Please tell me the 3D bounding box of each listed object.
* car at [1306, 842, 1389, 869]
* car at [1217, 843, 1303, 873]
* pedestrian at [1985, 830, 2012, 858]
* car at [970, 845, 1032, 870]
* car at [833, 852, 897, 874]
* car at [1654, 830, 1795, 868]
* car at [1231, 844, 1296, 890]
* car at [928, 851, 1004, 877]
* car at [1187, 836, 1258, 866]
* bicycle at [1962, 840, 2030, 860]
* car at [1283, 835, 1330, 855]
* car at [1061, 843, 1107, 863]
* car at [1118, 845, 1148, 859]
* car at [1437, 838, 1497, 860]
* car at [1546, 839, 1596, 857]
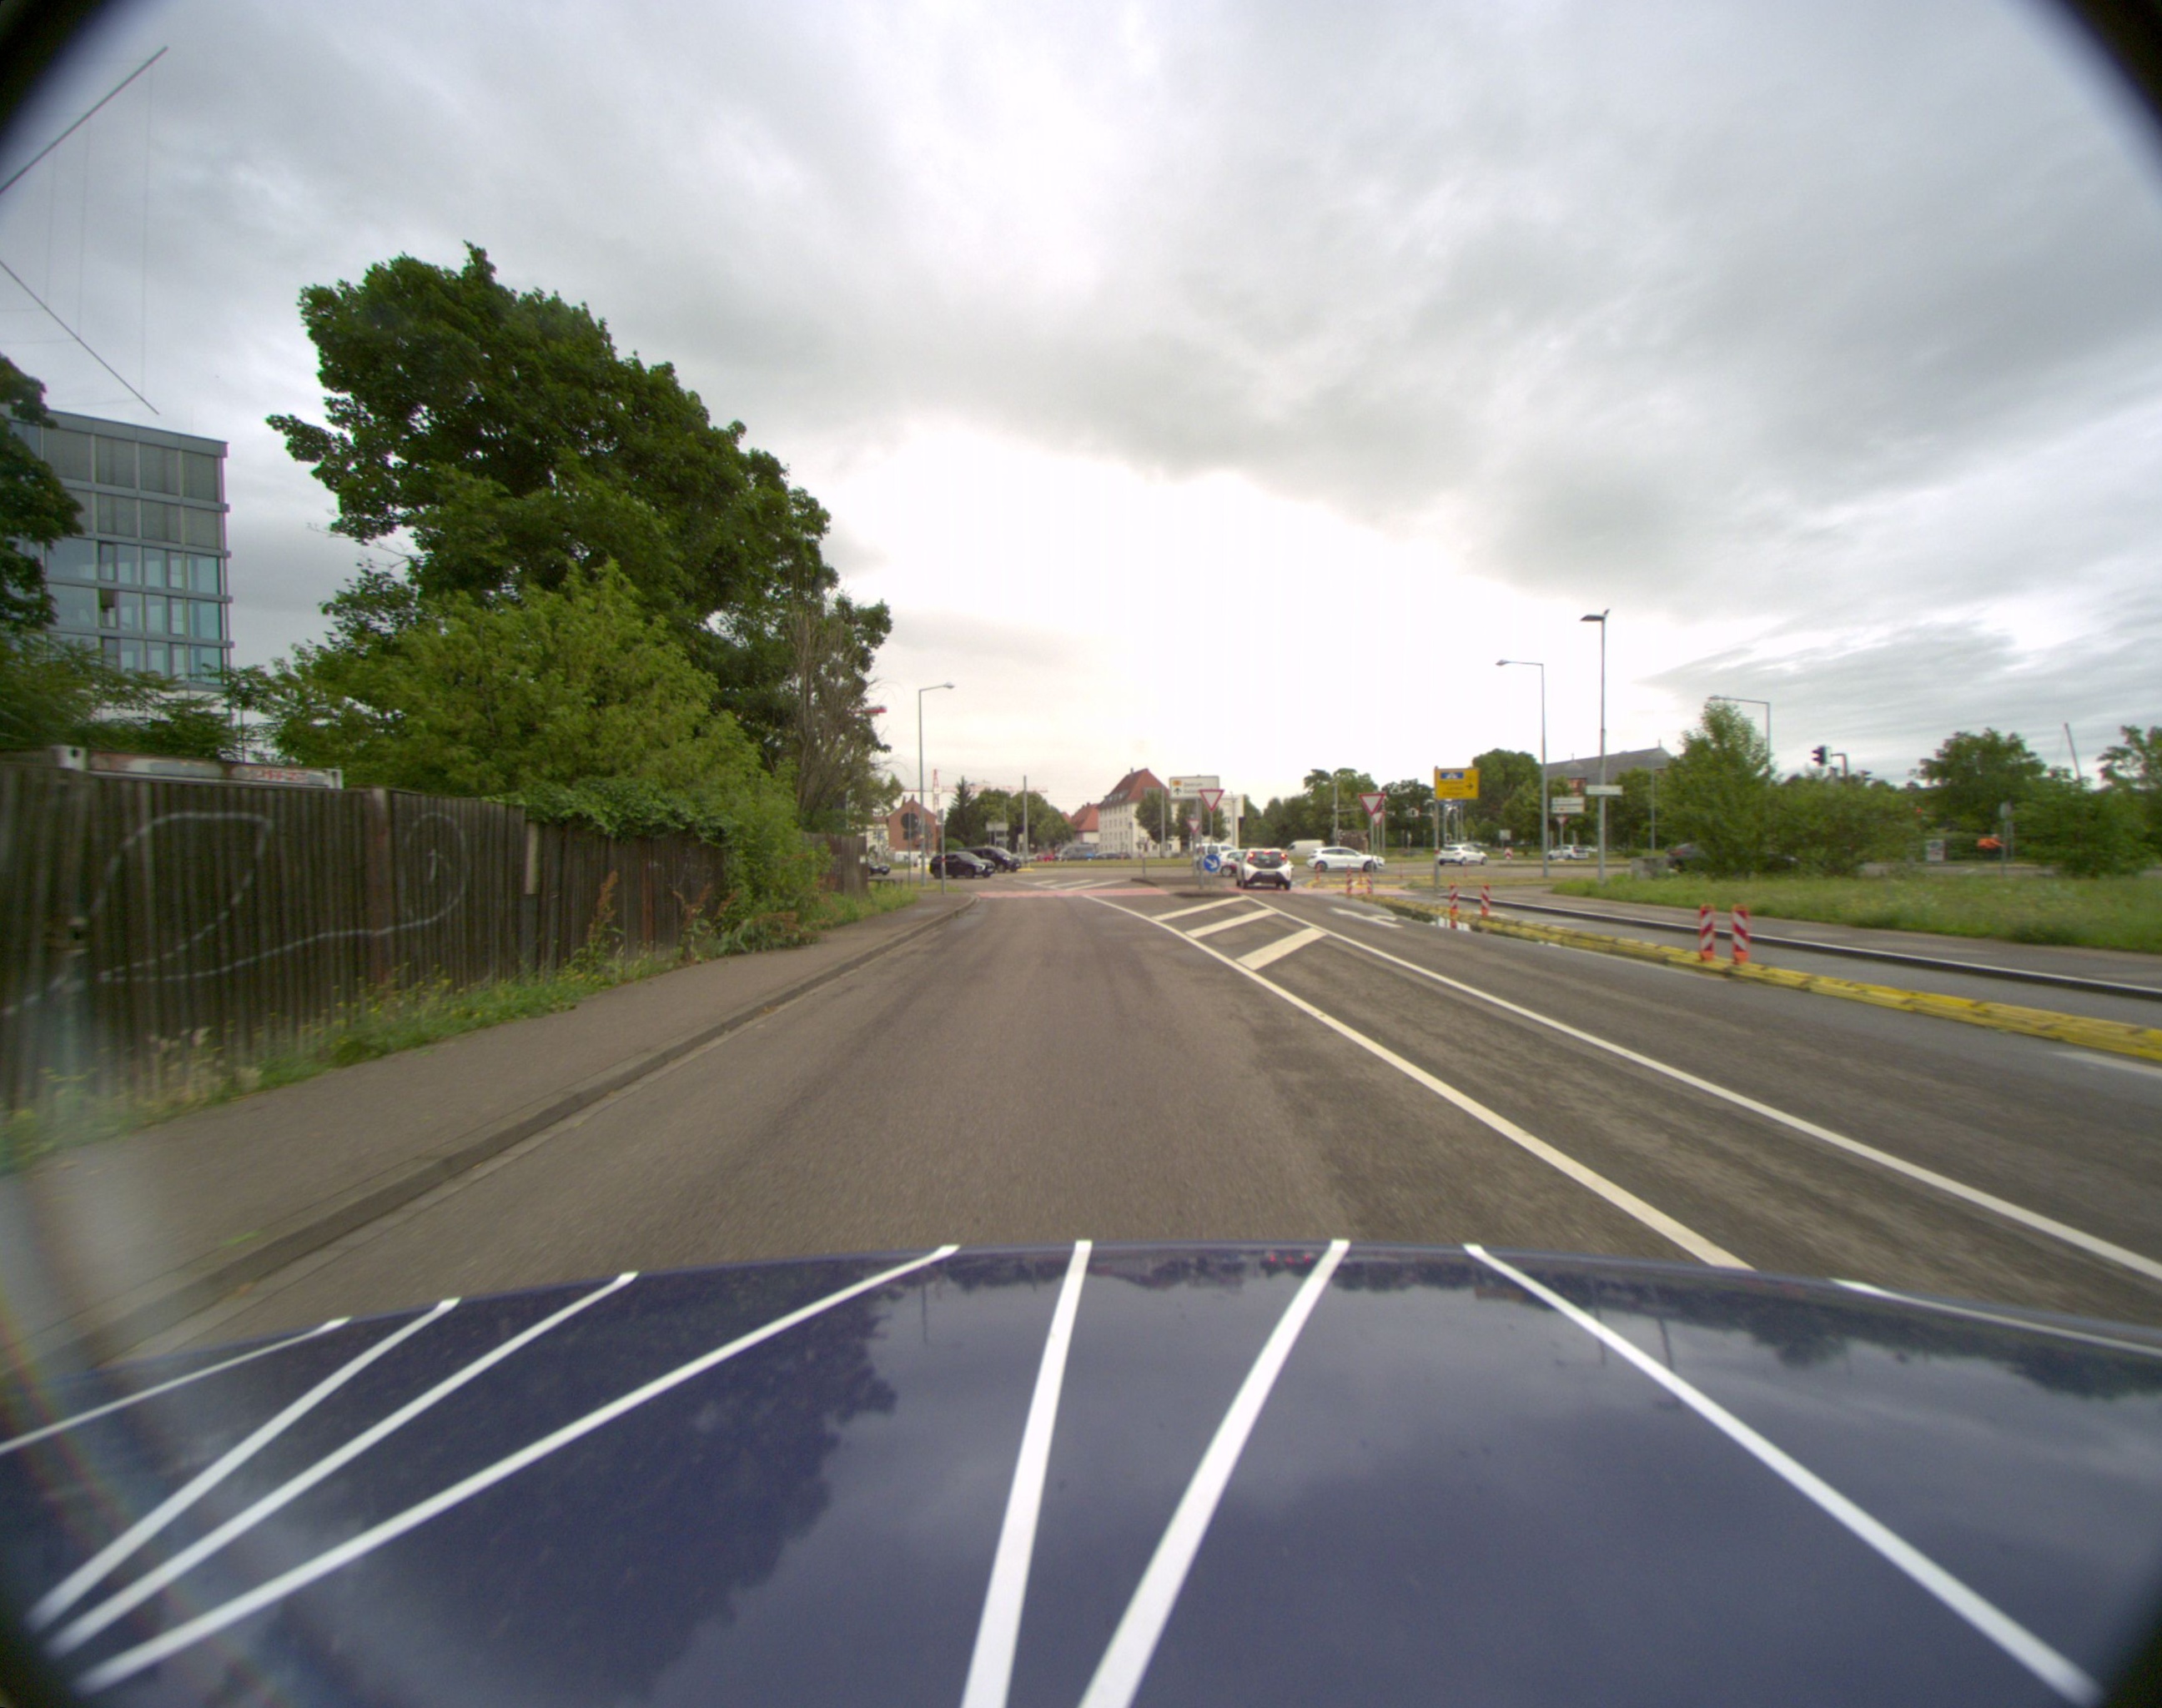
[{"bbox_3d":[15.713,0.069,45.071,4.468,1.449,1.923,-1,1,13],"label":"car"},{"bbox_3d":[9.630,0.208,41.148,4.425,1.449,1.834,-1,1,11],"label":"car"},{"bbox_3d":[58.025,-0.628,48.060,0.750,1.760,0.972,-1,0,-31],"label":"pedestrian"},{"bbox_3d":[-5.787,0.234,54.906,4.004,1.705,1.932,-1,1,23],"label":"car"},{"bbox_3d":[-16.821,0.696,59.218,4.351,1.608,2.002,-1,0,15],"label":"car"},{"bbox_3d":[30.372,-0.246,36.019,4.743,1.658,1.923,-1,1,14],"label":"car"},{"bbox_3d":[6.888,0.429,29.005,1.754,1.578,3.902,1,1,4],"label":"car"},{"bbox_3d":[-7.233,0.627,47.777,4.463,1.557,1.925,-1,1,31],"label":"car"},{"bbox_3d":[9.384,-0.200,50.149,4.478,1.893,1.923,-1,1,13],"label":"car"},{"bbox_3d":[57.953,-0.263,48.170,0.759,1.215,2.683,-1,0,-31],"label":"bicycle"},{"bbox_3d":[30.244,-1.228,101.982,5.593,2.527,2.245,-1,1,37],"label":"car"},{"bbox_3d":[0.385,-0.127,94.001,5.352,2.229,2.170,-2,1,-32],"label":"car"},{"bbox_3d":[6.991,-0.263,102.276,3.995,1.674,1.813,-1,1,5],"label":"car"},{"bbox_3d":[27.297,-0.344,53.730,4.483,1.446,1.916,-2,1,-35],"label":"car"},{"bbox_3d":[46.369,-0.572,72.007,1.899,1.547,3.997,-1,1,-8],"label":"car"}]
